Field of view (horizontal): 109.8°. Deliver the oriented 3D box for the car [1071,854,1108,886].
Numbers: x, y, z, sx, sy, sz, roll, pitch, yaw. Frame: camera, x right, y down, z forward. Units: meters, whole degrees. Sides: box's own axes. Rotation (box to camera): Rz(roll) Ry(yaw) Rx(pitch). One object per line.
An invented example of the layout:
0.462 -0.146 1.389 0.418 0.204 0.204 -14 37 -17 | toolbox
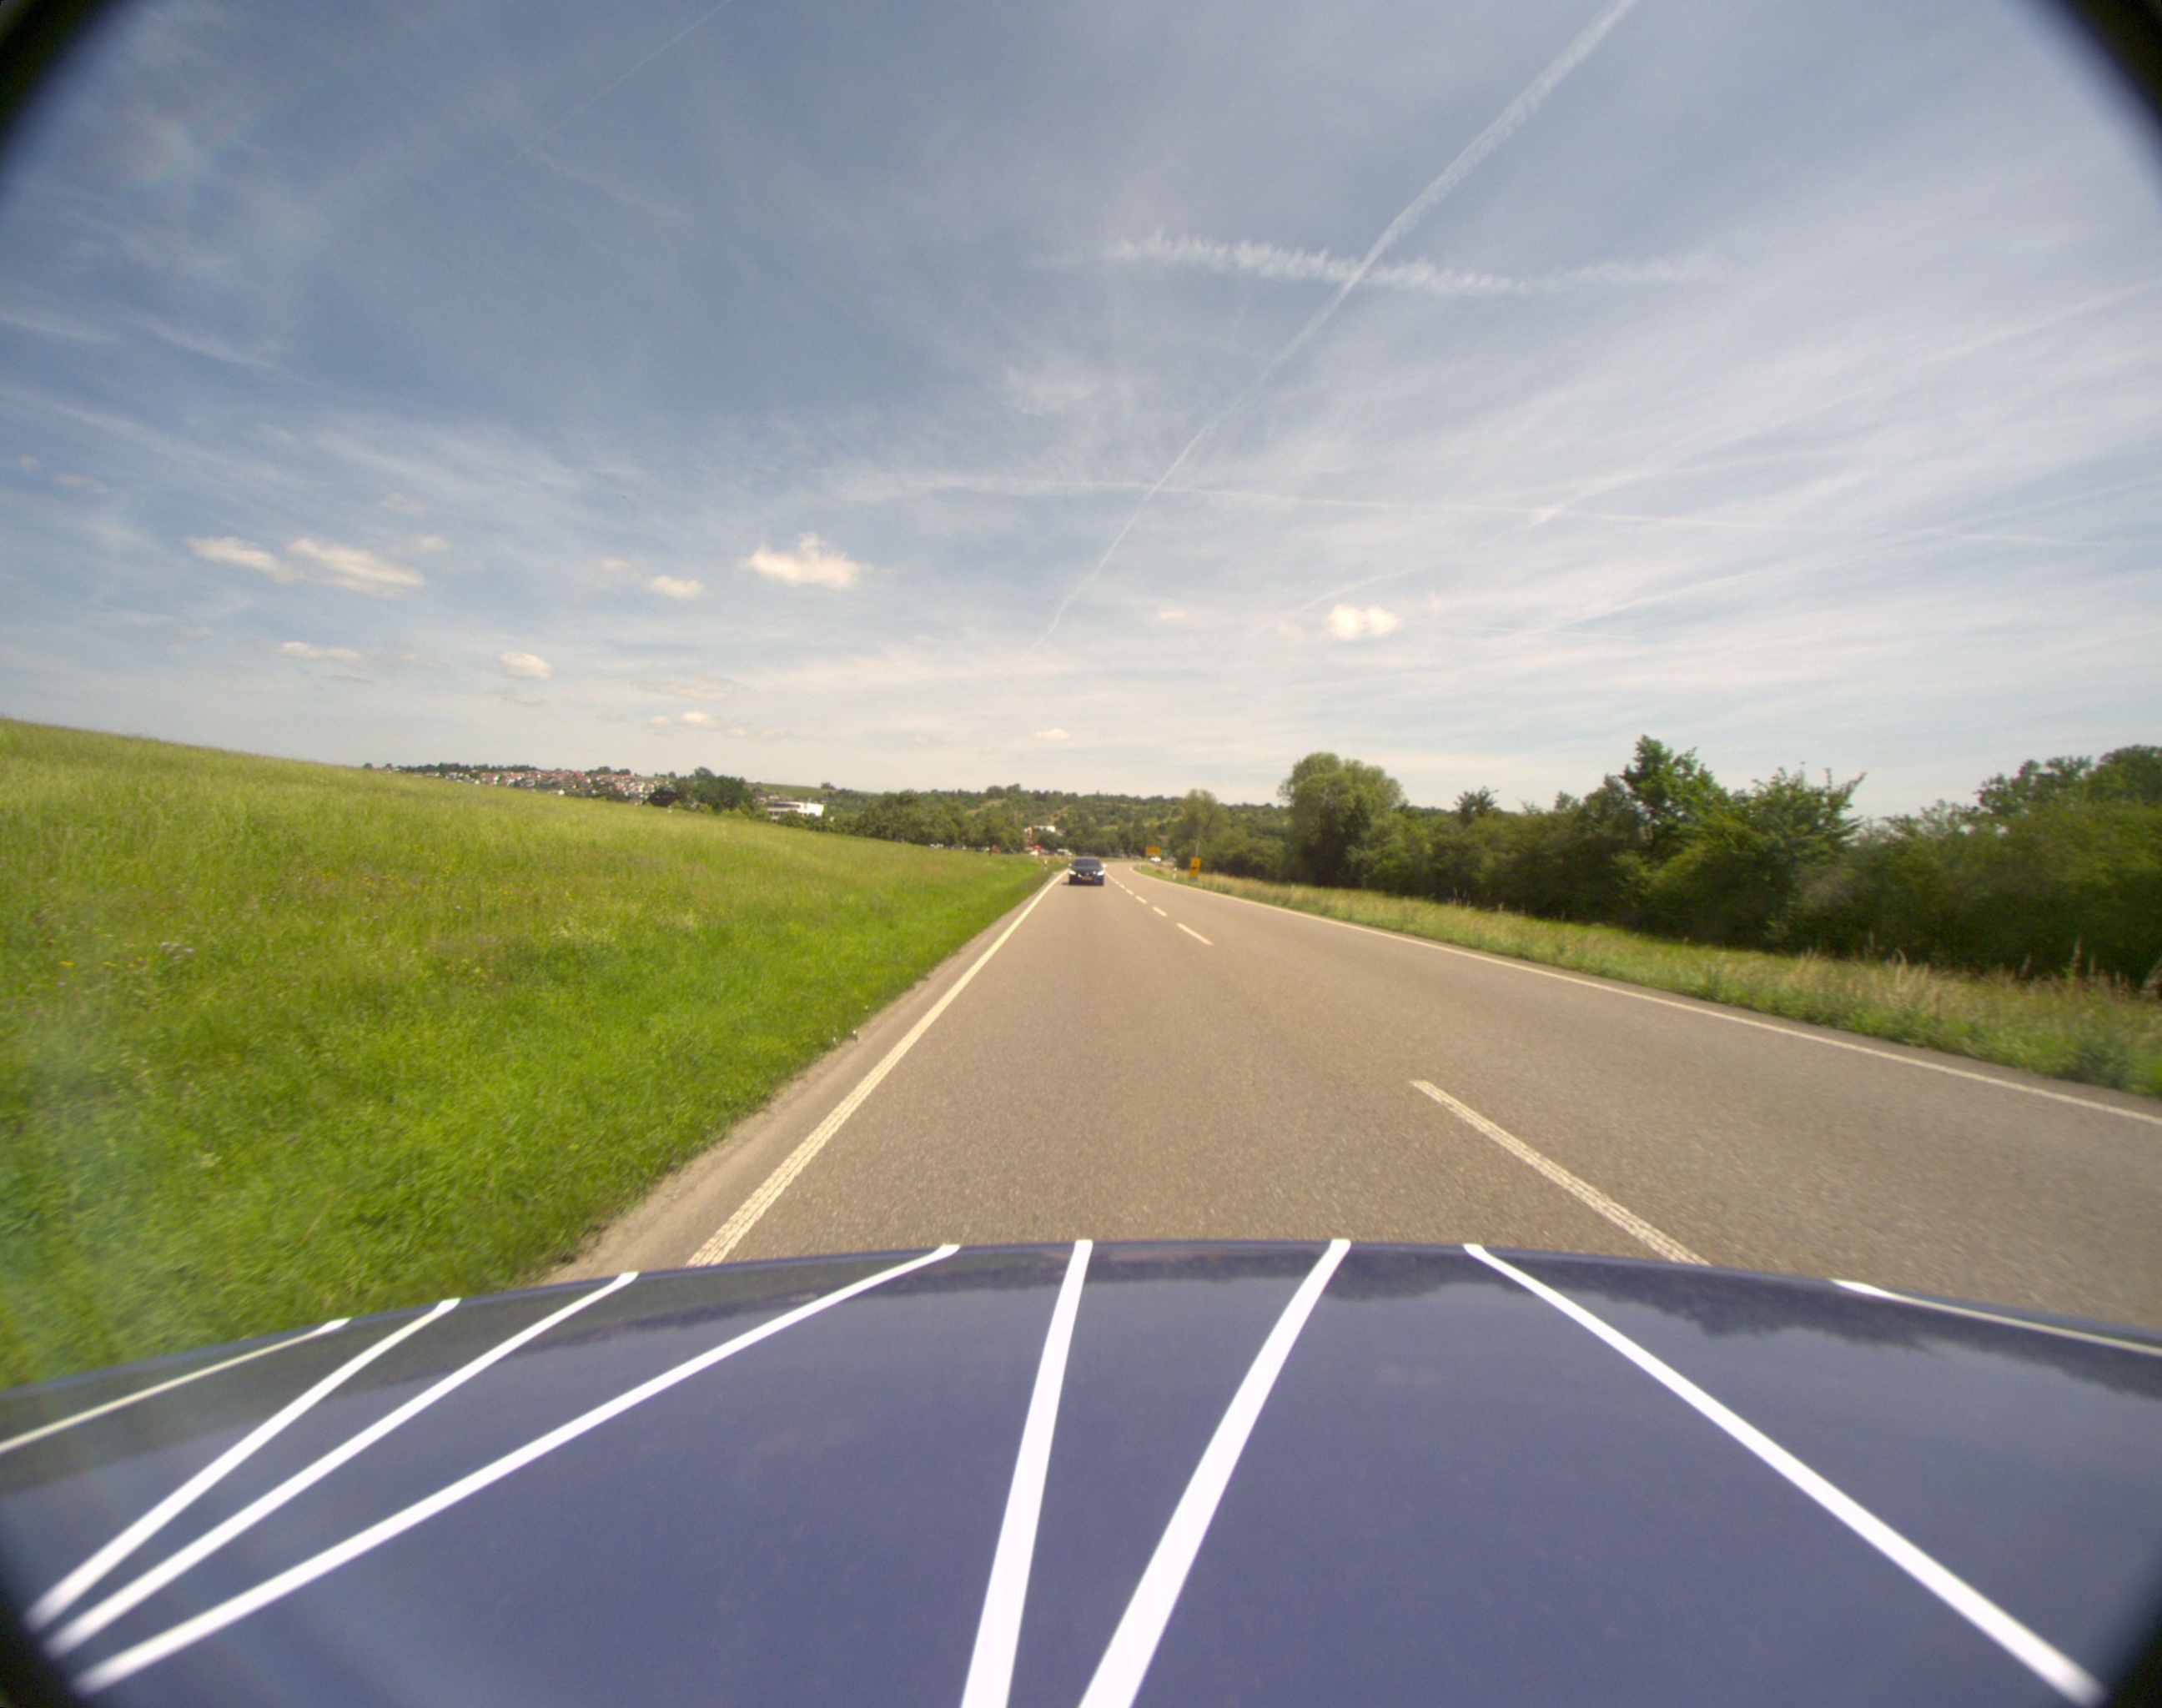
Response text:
0.447 0.792 40.014 1.785 1.440 4.604 2 1 1 | car
